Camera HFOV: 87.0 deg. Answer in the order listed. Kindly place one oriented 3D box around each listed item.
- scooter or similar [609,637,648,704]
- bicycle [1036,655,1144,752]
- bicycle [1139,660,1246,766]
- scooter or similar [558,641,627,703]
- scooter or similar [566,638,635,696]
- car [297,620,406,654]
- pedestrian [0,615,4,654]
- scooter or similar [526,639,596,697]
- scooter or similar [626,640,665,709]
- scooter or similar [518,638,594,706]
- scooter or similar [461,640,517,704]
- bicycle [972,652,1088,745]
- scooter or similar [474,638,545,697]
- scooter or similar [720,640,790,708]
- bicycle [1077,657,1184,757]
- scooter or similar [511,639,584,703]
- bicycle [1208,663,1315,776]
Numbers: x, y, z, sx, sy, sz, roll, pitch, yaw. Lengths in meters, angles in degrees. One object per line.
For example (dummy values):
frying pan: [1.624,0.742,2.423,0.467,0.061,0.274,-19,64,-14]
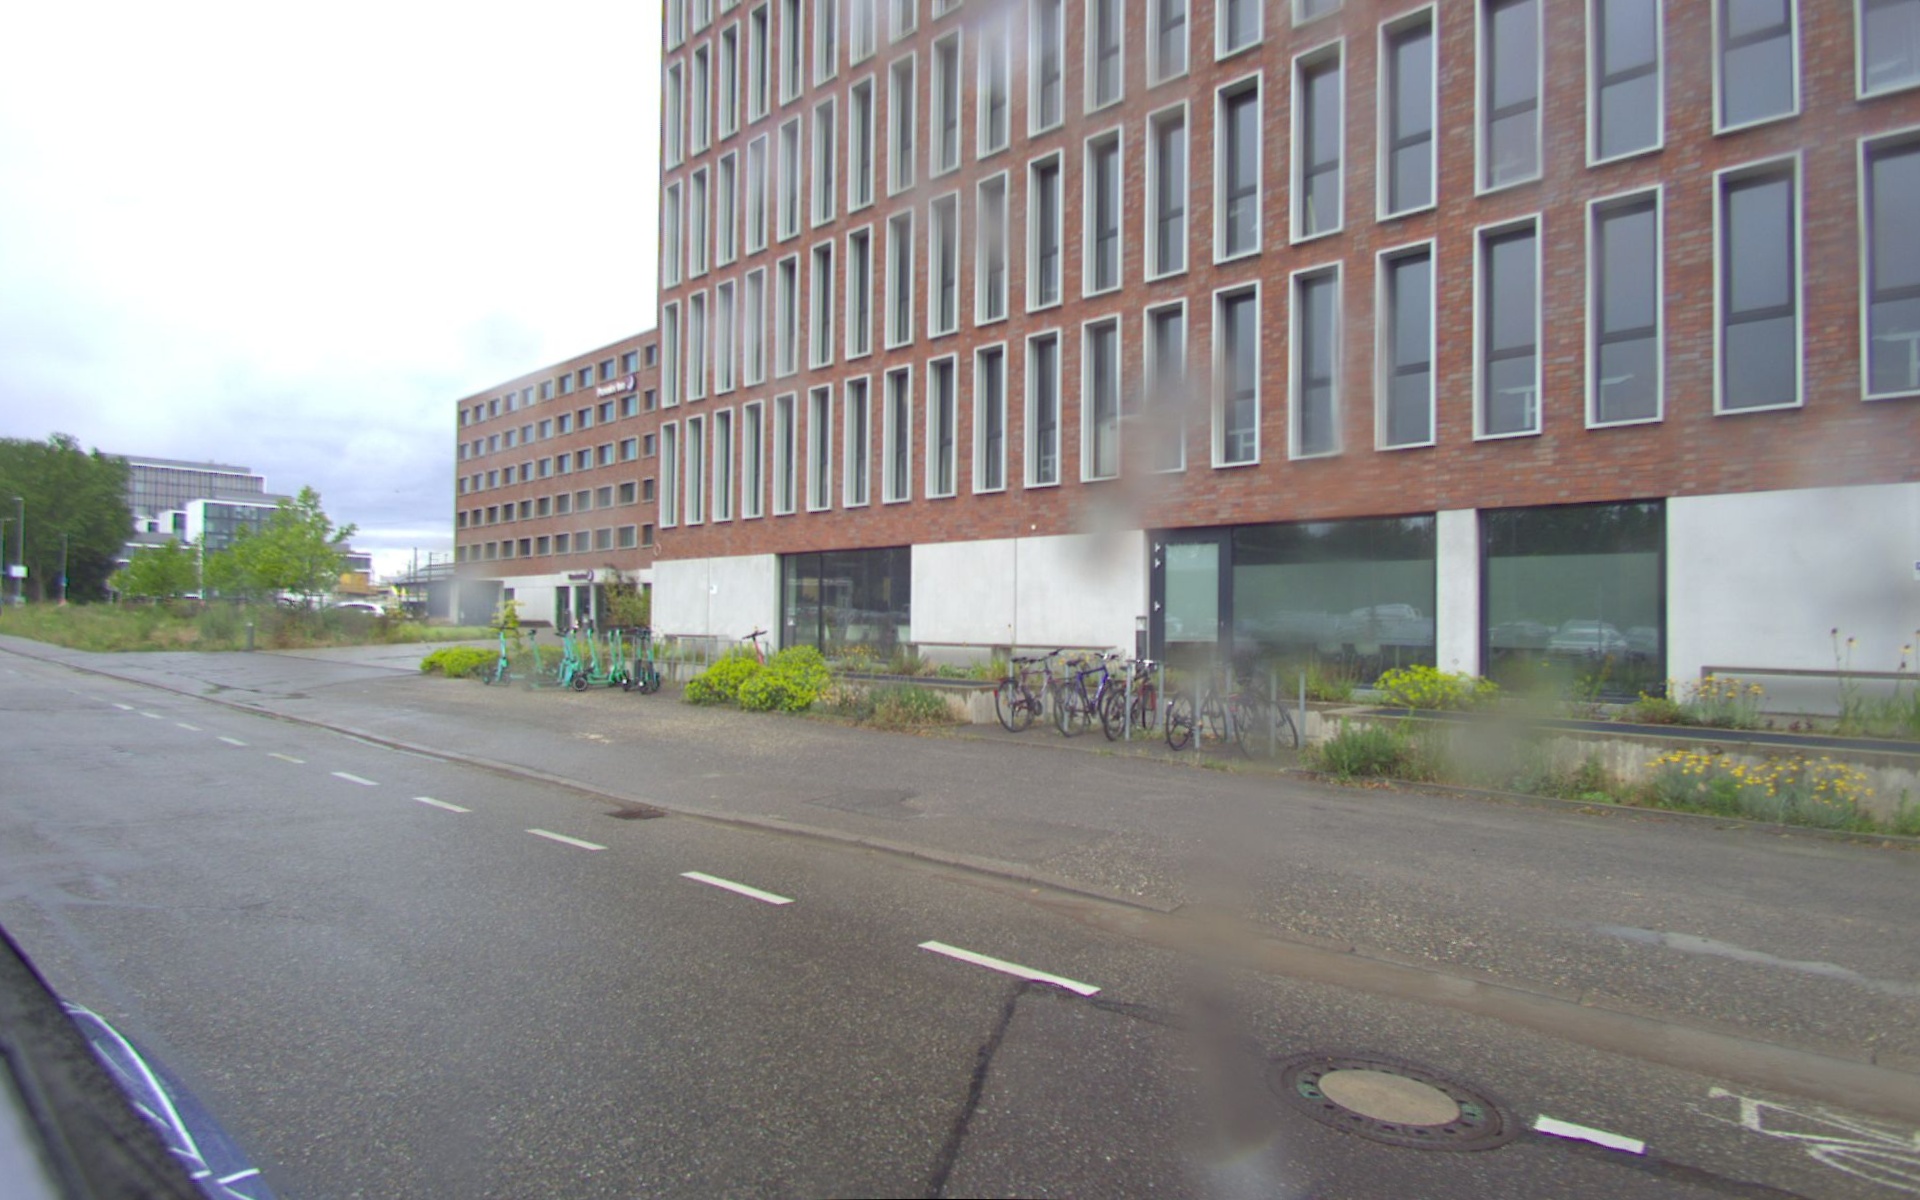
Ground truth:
scooter or similar: [-6.496,1.373,19.867,0.460,1.239,1.210,2,-1,-7]
bicycle: [1.756,1.340,13.484,0.544,1.085,1.841,1,1,39]
bicycle: [2.893,1.344,12.469,0.544,1.085,1.841,1,1,39]
scooter or similar: [-7.347,1.422,20.284,0.465,1.186,1.308,1,-1,28]
scooter or similar: [-7.744,1.434,21.820,1.301,1.186,0.468,3,-2,-44]
car: [-31.939,1.913,53.248,1.997,1.653,4.479,1,0,37]
pedestrian: [-44.065,1.573,45.914,1.026,1.731,0.899,1,0,40]
scooter or similar: [-8.558,1.443,21.724,1.301,1.186,0.468,3,-2,-44]
scooter or similar: [-5.929,1.387,19.122,0.460,1.217,1.210,2,-1,-7]
scooter or similar: [-7.644,1.366,19.188,1.298,1.239,0.469,2,-1,-20]
scooter or similar: [-9.694,1.454,20.809,1.319,1.239,0.461,0,-2,38]
bicycle: [1.006,1.331,14.102,0.620,1.085,1.929,1,1,39]
scooter or similar: [-9.748,1.460,21.934,1.299,1.239,0.509,2,-1,-11]
scooter or similar: [-3.830,1.374,18.921,1.211,1.217,0.418,3,-2,-43]
bicycle: [2.233,1.338,13.087,0.544,1.085,1.841,1,1,39]
scooter or similar: [-8.348,1.428,20.510,1.307,1.239,0.465,1,-1,12]
bicycle: [3.559,1.351,11.865,0.544,1.085,1.841,1,1,39]
